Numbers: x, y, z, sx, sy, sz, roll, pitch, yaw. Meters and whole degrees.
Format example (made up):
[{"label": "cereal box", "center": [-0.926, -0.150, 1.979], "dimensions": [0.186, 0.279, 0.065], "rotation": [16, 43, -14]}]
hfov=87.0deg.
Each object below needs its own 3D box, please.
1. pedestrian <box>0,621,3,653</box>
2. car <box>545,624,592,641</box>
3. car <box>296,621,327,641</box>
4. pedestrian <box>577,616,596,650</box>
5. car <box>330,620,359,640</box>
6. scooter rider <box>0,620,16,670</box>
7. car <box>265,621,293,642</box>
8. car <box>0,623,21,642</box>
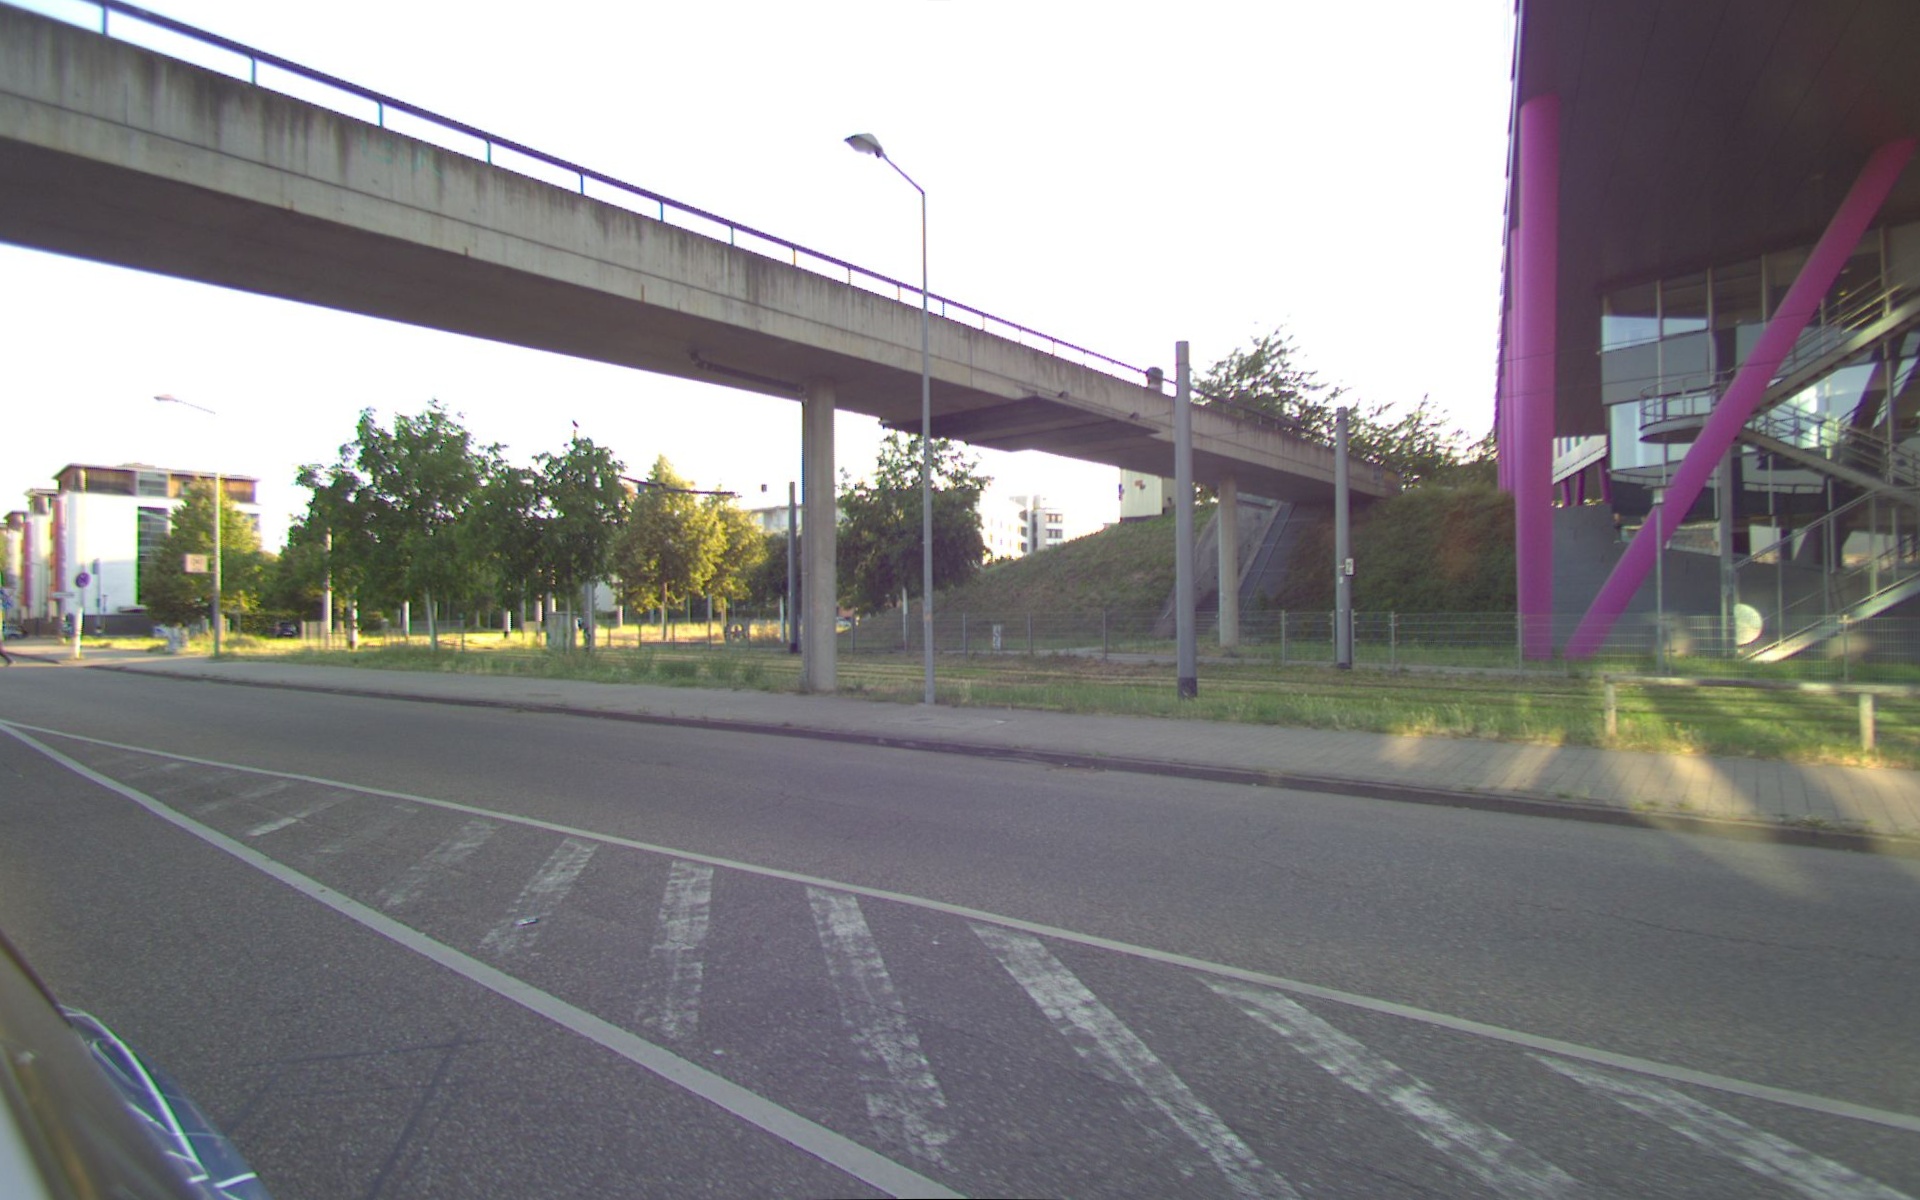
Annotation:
[{"label": "pedestrian", "center": [-60.134, 2.308, 62.545], "dimensions": [1.072, 2.029, 1.143], "rotation": [0, 0, -20]}, {"label": "car", "center": [-38.136, 3.148, 98.597], "dimensions": [3.936, 1.575, 2.004], "rotation": [0, -1, -39]}, {"label": "car", "center": [-57.137, 2.701, 89.185], "dimensions": [1.843, 1.734, 3.851], "rotation": [0, -1, -40]}, {"label": "pedestrian", "center": [-17.812, 1.579, 48.263], "dimensions": [0.767, 1.623, 0.417], "rotation": [0, -1, -37]}, {"label": "car", "center": [-55.330, 2.707, 90.902], "dimensions": [1.842, 1.734, 3.853], "rotation": [0, -1, -38]}, {"label": "scooter rider", "center": [-30.898, 1.439, 32.407], "dimensions": [0.884, 1.589, 0.713], "rotation": [0, -1, -35]}, {"label": "car", "center": [-58.973, 2.701, 87.598], "dimensions": [1.842, 1.734, 3.853], "rotation": [0, -1, -37]}, {"label": "car", "center": [-82.545, 2.773, 85.652], "dimensions": [1.839, 1.571, 4.329], "rotation": [0, 0, 42]}]
